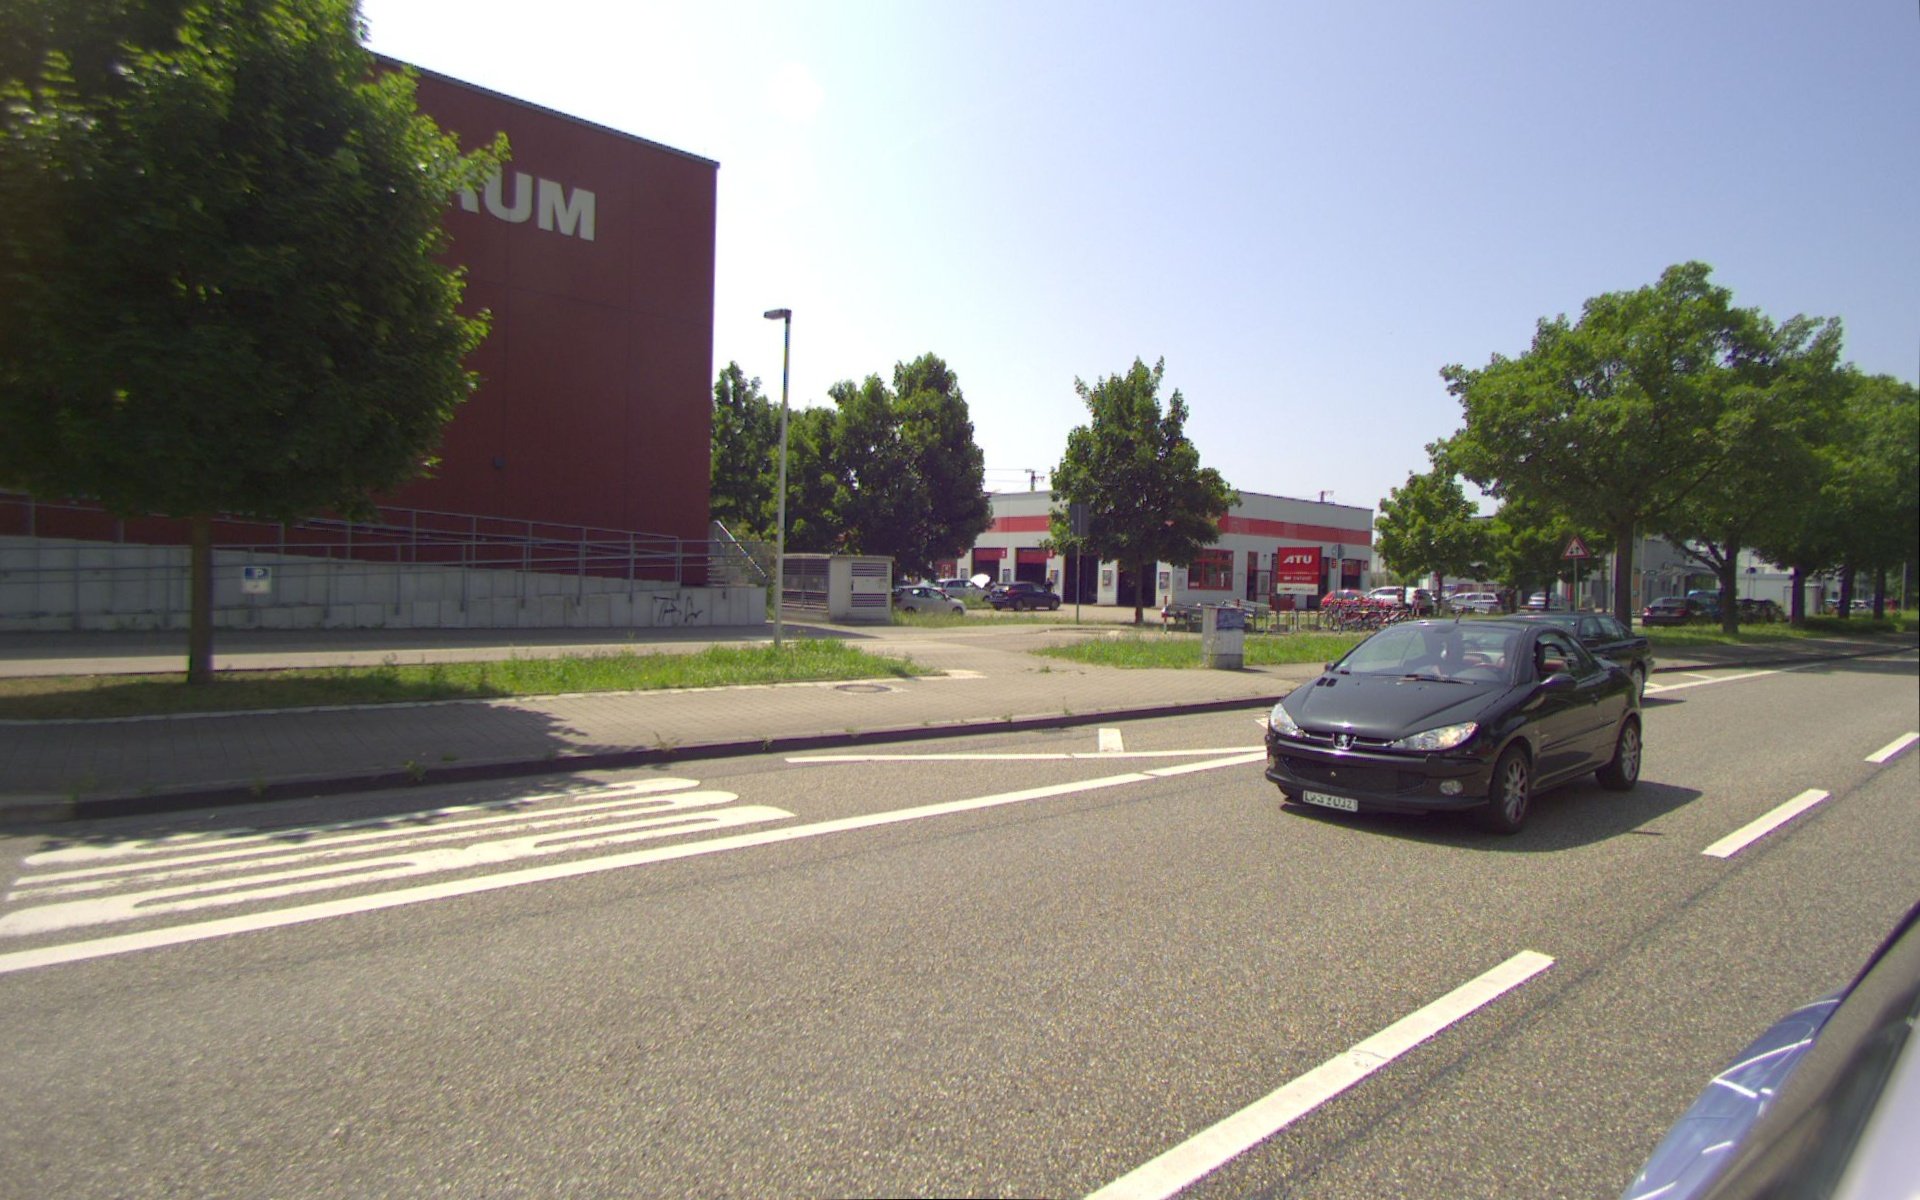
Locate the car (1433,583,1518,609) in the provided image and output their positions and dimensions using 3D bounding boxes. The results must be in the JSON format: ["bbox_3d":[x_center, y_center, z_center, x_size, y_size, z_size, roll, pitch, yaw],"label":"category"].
[{"bbox_3d":[29.384,-0.260,57.716,1.661,1.317,3.992,1,2,-43],"label":"car"}]

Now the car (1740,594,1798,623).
[{"bbox_3d":[44.483,0.463,55.623,3.928,1.532,1.719,1,1,-40],"label":"car"}]

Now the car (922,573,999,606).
[{"bbox_3d":[0.062,-0.575,55.025,4.072,1.683,1.716,0,2,-41],"label":"car"}]

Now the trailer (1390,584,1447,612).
[{"bbox_3d":[26.277,-0.126,58.037,1.391,1.546,2.639,1,2,-42],"label":"trailer"}]

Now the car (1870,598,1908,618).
[{"bbox_3d":[73.030,0.606,79.545,3.928,1.485,1.719,1,1,-40],"label":"car"}]

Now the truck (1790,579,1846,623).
[{"bbox_3d":[53.483,0.055,63.075,3.927,2.599,1.905,1,1,-39],"label":"truck"}]

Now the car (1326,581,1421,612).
[{"bbox_3d":[20.370,-0.190,49.931,1.717,1.419,3.993,1,2,-42],"label":"car"}]

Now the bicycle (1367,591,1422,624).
[{"bbox_3d":[15.913,0.254,37.099,1.779,1.138,0.506,3,1,44],"label":"bicycle"}]

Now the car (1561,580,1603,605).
[{"bbox_3d":[43.277,-0.500,70.396,1.754,1.616,3.938,3,2,43],"label":"car"}]

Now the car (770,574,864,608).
[{"bbox_3d":[-6.505,-0.408,46.225,3.928,1.444,1.710,1,1,-39],"label":"car"}]

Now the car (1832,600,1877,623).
[{"bbox_3d":[62.684,0.782,70.897,3.928,1.485,1.719,1,1,-40],"label":"car"}]

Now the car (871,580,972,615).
[{"bbox_3d":[-1.527,-0.105,40.763,3.903,1.329,1.652,0,2,-41],"label":"car"}]

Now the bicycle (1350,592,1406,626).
[{"bbox_3d":[14.949,0.309,36.241,1.779,1.138,0.506,3,1,44],"label":"bicycle"}]

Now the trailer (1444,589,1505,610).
[{"bbox_3d":[28.314,-0.029,55.706,1.551,1.065,2.639,1,2,-42],"label":"trailer"}]

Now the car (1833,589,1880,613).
[{"bbox_3d":[58.428,0.088,65.929,3.928,1.485,1.719,1,1,-40],"label":"car"}]

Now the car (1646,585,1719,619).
[{"bbox_3d":[31.728,0.085,44.388,3.928,1.388,1.642,1,1,-40],"label":"car"}]

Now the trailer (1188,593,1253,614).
[{"bbox_3d":[10.260,0.130,39.934,1.244,0.771,2.138,1,2,-38],"label":"trailer"}]

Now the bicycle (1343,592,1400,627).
[{"bbox_3d":[14.534,0.315,35.782,1.779,1.138,0.506,3,1,44],"label":"bicycle"}]

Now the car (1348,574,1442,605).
[{"bbox_3d":[22.133,-0.541,51.587,1.718,1.419,3.992,1,2,-43],"label":"car"}]

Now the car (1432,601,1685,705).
[{"bbox_3d":[9.122,0.724,15.343,4.064,1.388,1.644,0,-1,-33],"label":"car"}]

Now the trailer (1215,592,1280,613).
[{"bbox_3d":[11.590,0.109,40.838,1.368,0.771,2.138,1,2,-38],"label":"trailer"}]

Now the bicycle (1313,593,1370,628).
[{"bbox_3d":[13.214,0.360,35.095,1.779,1.138,0.506,3,1,44],"label":"bicycle"}]

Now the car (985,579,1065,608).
[{"bbox_3d":[3.412,-0.342,52.490,4.072,1.390,1.716,0,2,-41],"label":"car"}]

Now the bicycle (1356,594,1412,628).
[{"bbox_3d":[15.343,0.389,36.665,1.779,1.138,0.506,3,1,44],"label":"bicycle"}]

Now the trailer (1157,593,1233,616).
[{"bbox_3d":[8.947,0.150,38.603,1.423,0.771,2.467,1,2,-38],"label":"trailer"}]

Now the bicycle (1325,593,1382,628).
[{"bbox_3d":[13.750,0.359,35.424,1.779,1.138,0.506,3,1,44],"label":"bicycle"}]

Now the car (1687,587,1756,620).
[{"bbox_3d":[36.318,0.166,48.236,3.928,1.485,1.719,1,1,-40],"label":"car"}]

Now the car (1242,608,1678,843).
[{"bbox_3d":[4.004,0.748,7.811,3.930,1.361,1.640,1,-1,-41],"label":"car"}]

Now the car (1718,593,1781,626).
[{"bbox_3d":[40.285,0.471,51.616,3.928,1.539,1.719,1,1,-40],"label":"car"}]

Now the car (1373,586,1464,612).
[{"bbox_3d":[23.976,-0.066,53.013,1.718,1.223,3.992,1,2,-43],"label":"car"}]
